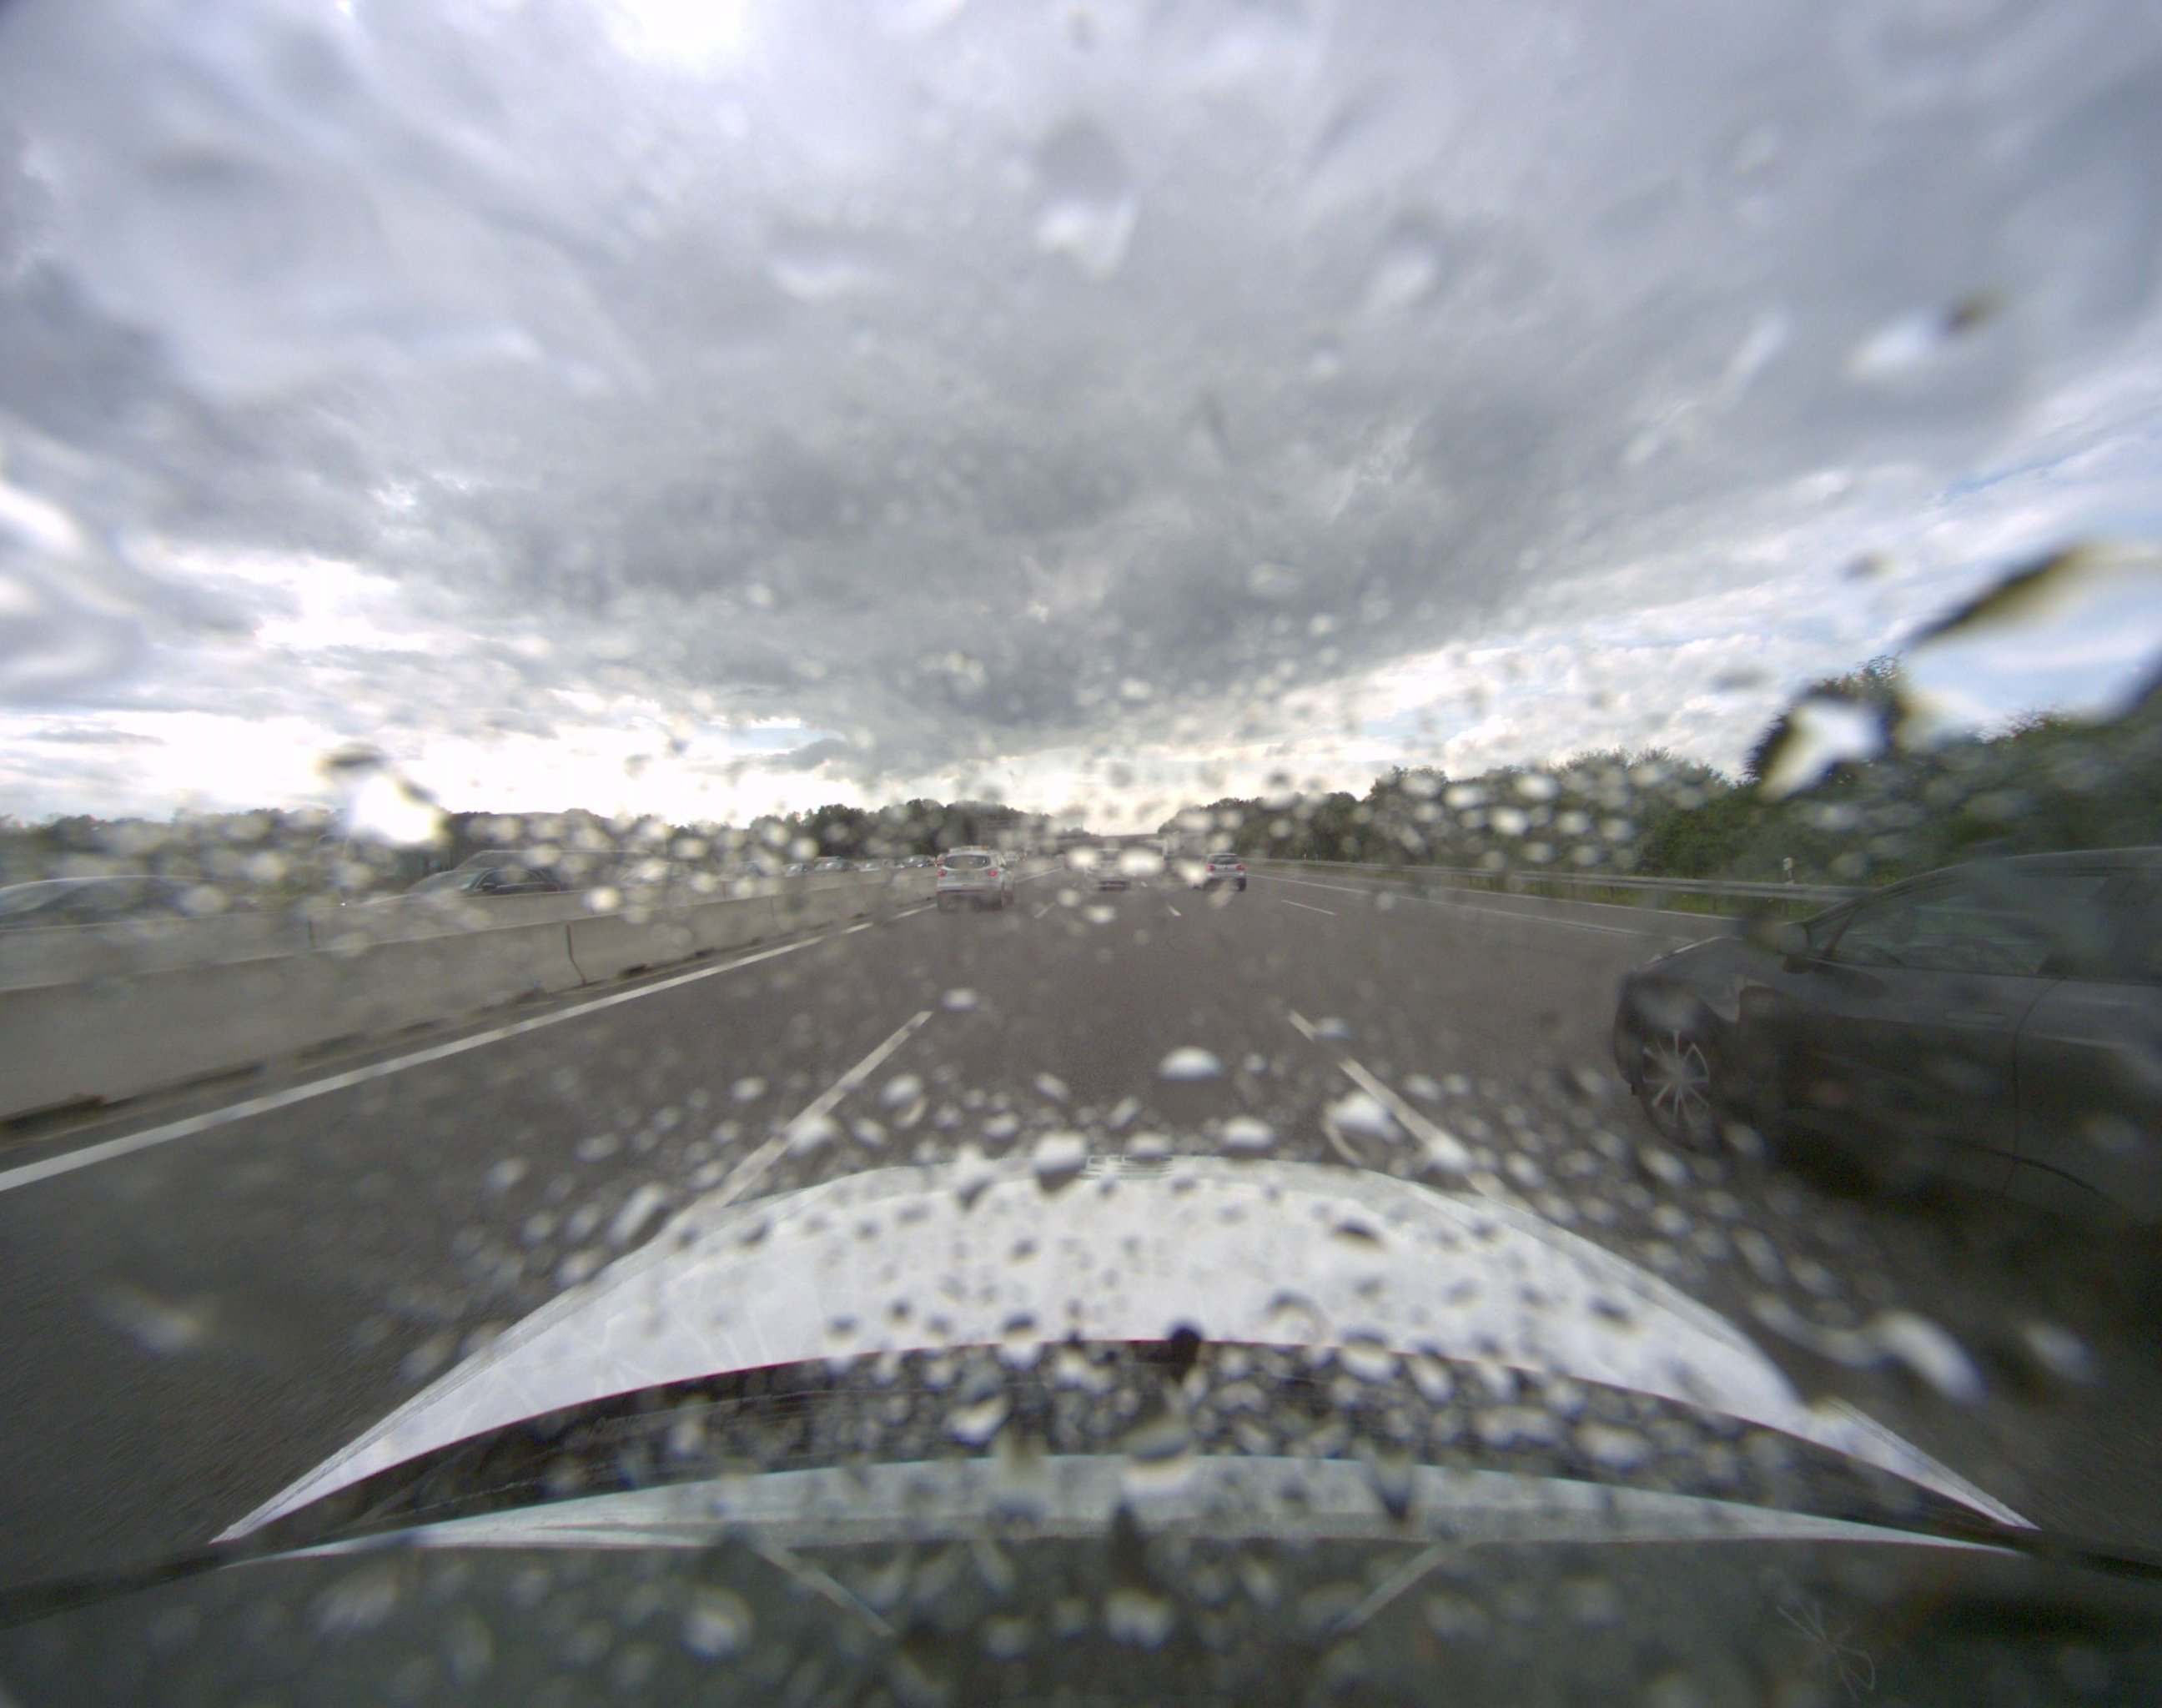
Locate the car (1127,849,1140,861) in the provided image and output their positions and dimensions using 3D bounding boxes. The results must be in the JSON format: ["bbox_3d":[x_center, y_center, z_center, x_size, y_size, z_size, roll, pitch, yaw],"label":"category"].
[{"bbox_3d":[8.514,0.187,131.632,2.034,1.823,4.908,-1,0,3],"label":"car"}]

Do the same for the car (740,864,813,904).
[{"bbox_3d":[-16.270,1.551,43.755,1.986,1.967,4.699,-1,0,2],"label":"car"}]

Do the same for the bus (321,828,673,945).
[{"bbox_3d":[-20.521,0.948,30.698,2.676,3.385,14.005,-1,0,2],"label":"bus"}]

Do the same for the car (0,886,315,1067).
[{"bbox_3d":[-13.626,1.530,10.990,1.986,1.967,4.699,-1,0,2],"label":"car"}]

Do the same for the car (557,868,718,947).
[{"bbox_3d":[-12.813,1.465,23.953,1.986,1.967,4.699,-1,0,2],"label":"car"}]

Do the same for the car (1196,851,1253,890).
[{"bbox_3d":[5.863,0.642,33.669,1.788,1.477,4.040,-1,0,2],"label":"car"}]

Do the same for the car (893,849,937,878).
[{"bbox_3d":[-12.528,0.684,61.790,1.986,2.013,5.421,-1,0,2],"label":"car"}]

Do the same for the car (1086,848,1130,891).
[{"bbox_3d":[1.155,0.636,35.494,1.774,1.716,4.354,-1,0,2],"label":"car"}]

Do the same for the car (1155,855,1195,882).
[{"bbox_3d":[5.195,0.788,45.450,1.878,1.407,4.284,-1,0,2],"label":"car"}]

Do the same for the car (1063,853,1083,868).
[{"bbox_3d":[-0.765,0.632,82.956,1.773,1.481,4.356,-1,0,3],"label":"car"}]

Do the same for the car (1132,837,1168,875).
[{"bbox_3d":[5.501,0.162,66.037,2.557,2.895,7.537,-1,0,2],"label":"car"}]

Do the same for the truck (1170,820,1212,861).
[{"bbox_3d":[10.529,-1.234,79.182,3.121,3.709,9.853,-1,0,2],"label":"truck"}]

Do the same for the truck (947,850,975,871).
[{"bbox_3d":[-20.072,1.035,136.518,2.898,3.290,9.207,-1,0,2],"label":"truck"}]

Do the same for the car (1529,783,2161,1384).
[{"bbox_3d":[3.796,0.605,3.049,1.774,1.613,4.599,-1,0,1],"label":"car"}]

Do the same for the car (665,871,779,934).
[{"bbox_3d":[-13.186,1.709,30.269,1.986,2.013,4.699,-1,0,2],"label":"car"}]

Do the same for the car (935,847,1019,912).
[{"bbox_3d":[-2.980,0.671,24.313,1.809,1.689,4.852,-1,0,1],"label":"car"}]

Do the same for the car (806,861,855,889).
[{"bbox_3d":[-19.380,1.571,63.290,1.984,2.013,4.832,-1,0,5],"label":"car"}]

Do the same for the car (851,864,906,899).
[{"bbox_3d":[-12.660,1.666,51.263,1.986,2.013,4.975,-1,0,2],"label":"car"}]

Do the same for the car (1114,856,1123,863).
[{"bbox_3d":[9.331,1.254,202.653,1.875,1.686,4.000,-1,0,0],"label":"car"}]
